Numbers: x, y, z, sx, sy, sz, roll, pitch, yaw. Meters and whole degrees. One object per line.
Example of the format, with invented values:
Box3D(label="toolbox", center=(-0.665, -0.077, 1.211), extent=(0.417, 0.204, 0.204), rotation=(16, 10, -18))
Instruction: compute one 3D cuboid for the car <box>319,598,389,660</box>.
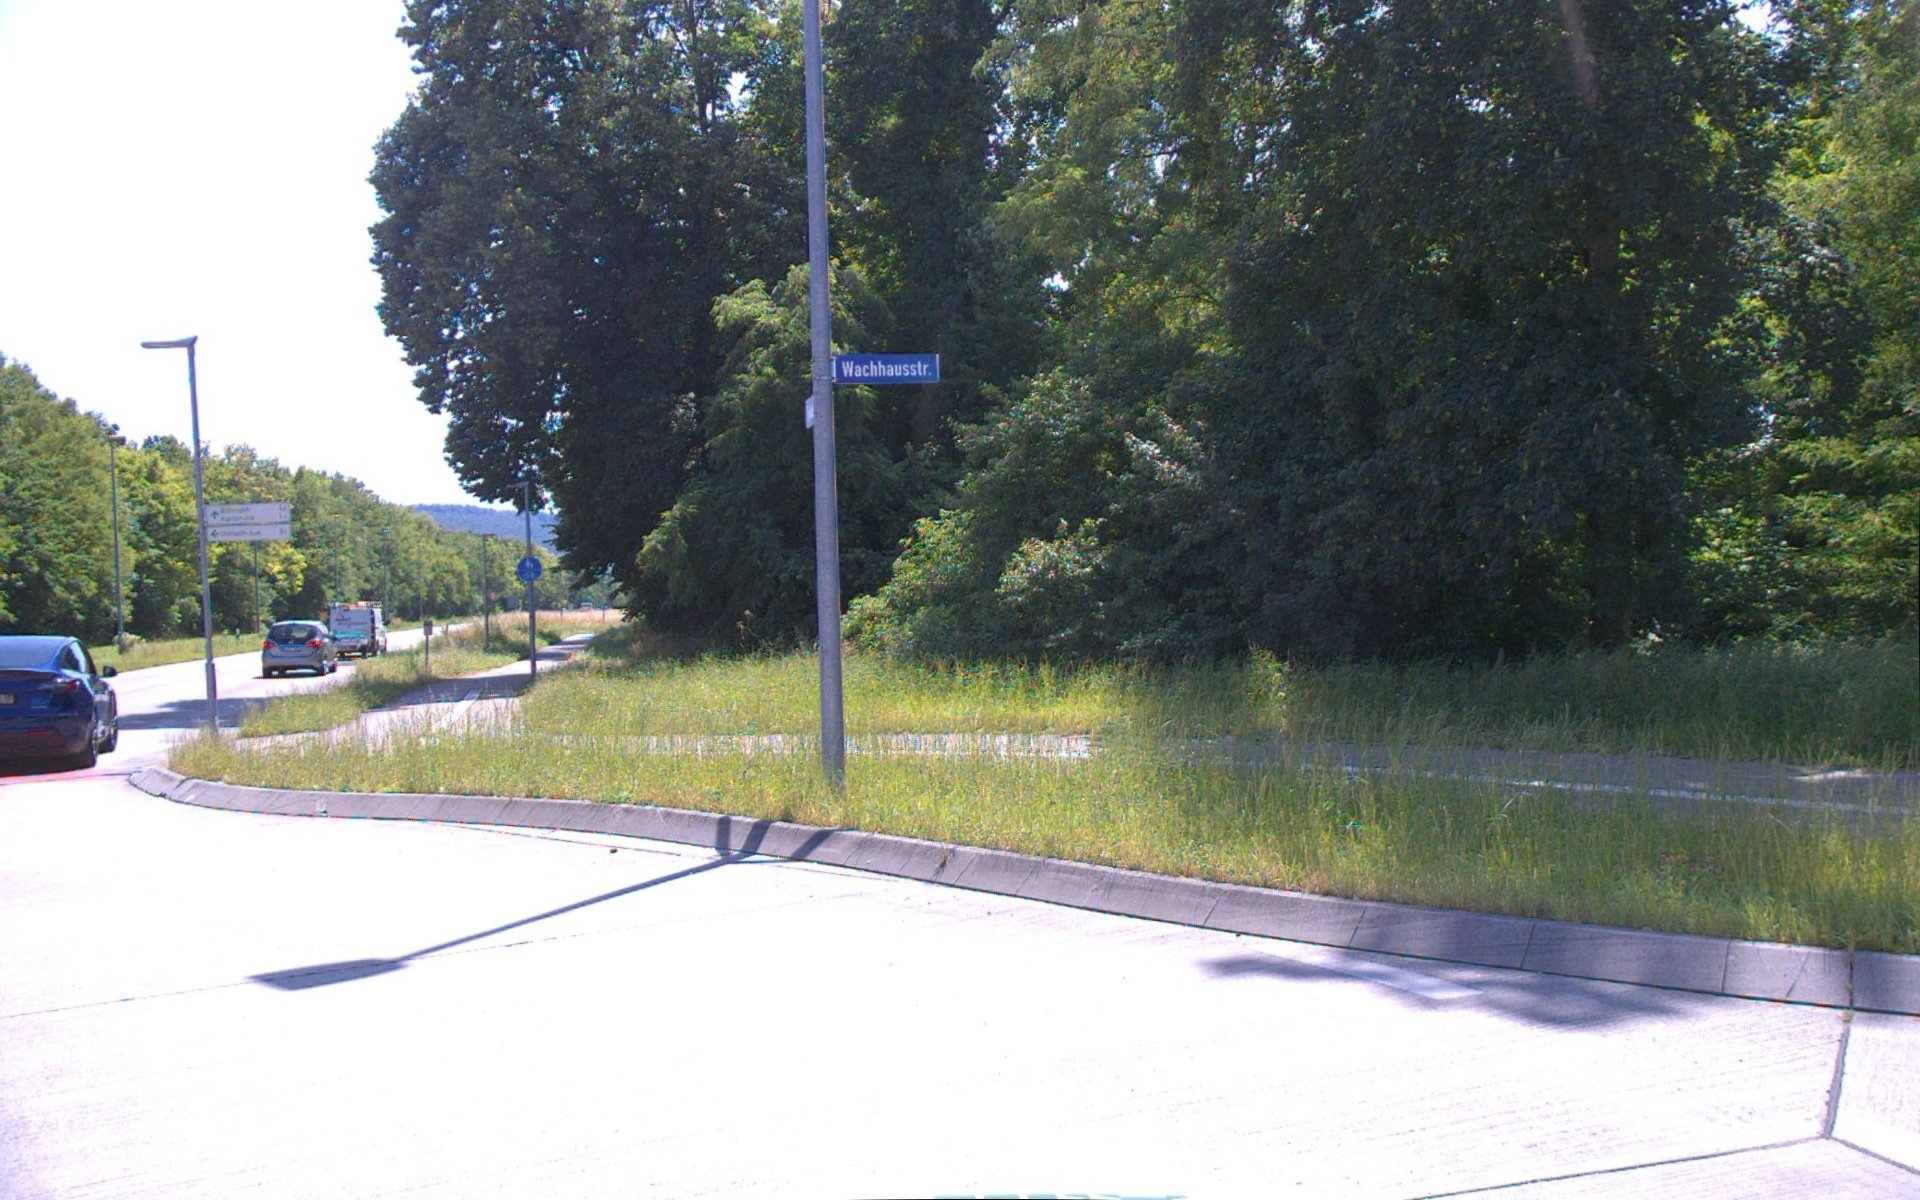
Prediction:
Box3D(label="car", center=(-24.362, 1.135, 66.634), extent=(2.130, 2.357, 4.961), rotation=(-1, 0, -15))

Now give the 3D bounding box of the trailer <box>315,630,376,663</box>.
Box3D(label="trailer", center=(-23.227, 1.735, 62.618), extent=(2.090, 1.116, 3.335), rotation=(-1, 0, -20))

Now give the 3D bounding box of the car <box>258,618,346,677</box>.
Box3D(label="car", center=(-19.690, 1.391, 49.657), extent=(1.753, 1.635, 4.114), rotation=(-1, 0, -12))

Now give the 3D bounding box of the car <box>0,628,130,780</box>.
Box3D(label="car", center=(-11.973, 1.257, 21.174), extent=(1.966, 1.668, 4.725), rotation=(-2, 0, -22))
